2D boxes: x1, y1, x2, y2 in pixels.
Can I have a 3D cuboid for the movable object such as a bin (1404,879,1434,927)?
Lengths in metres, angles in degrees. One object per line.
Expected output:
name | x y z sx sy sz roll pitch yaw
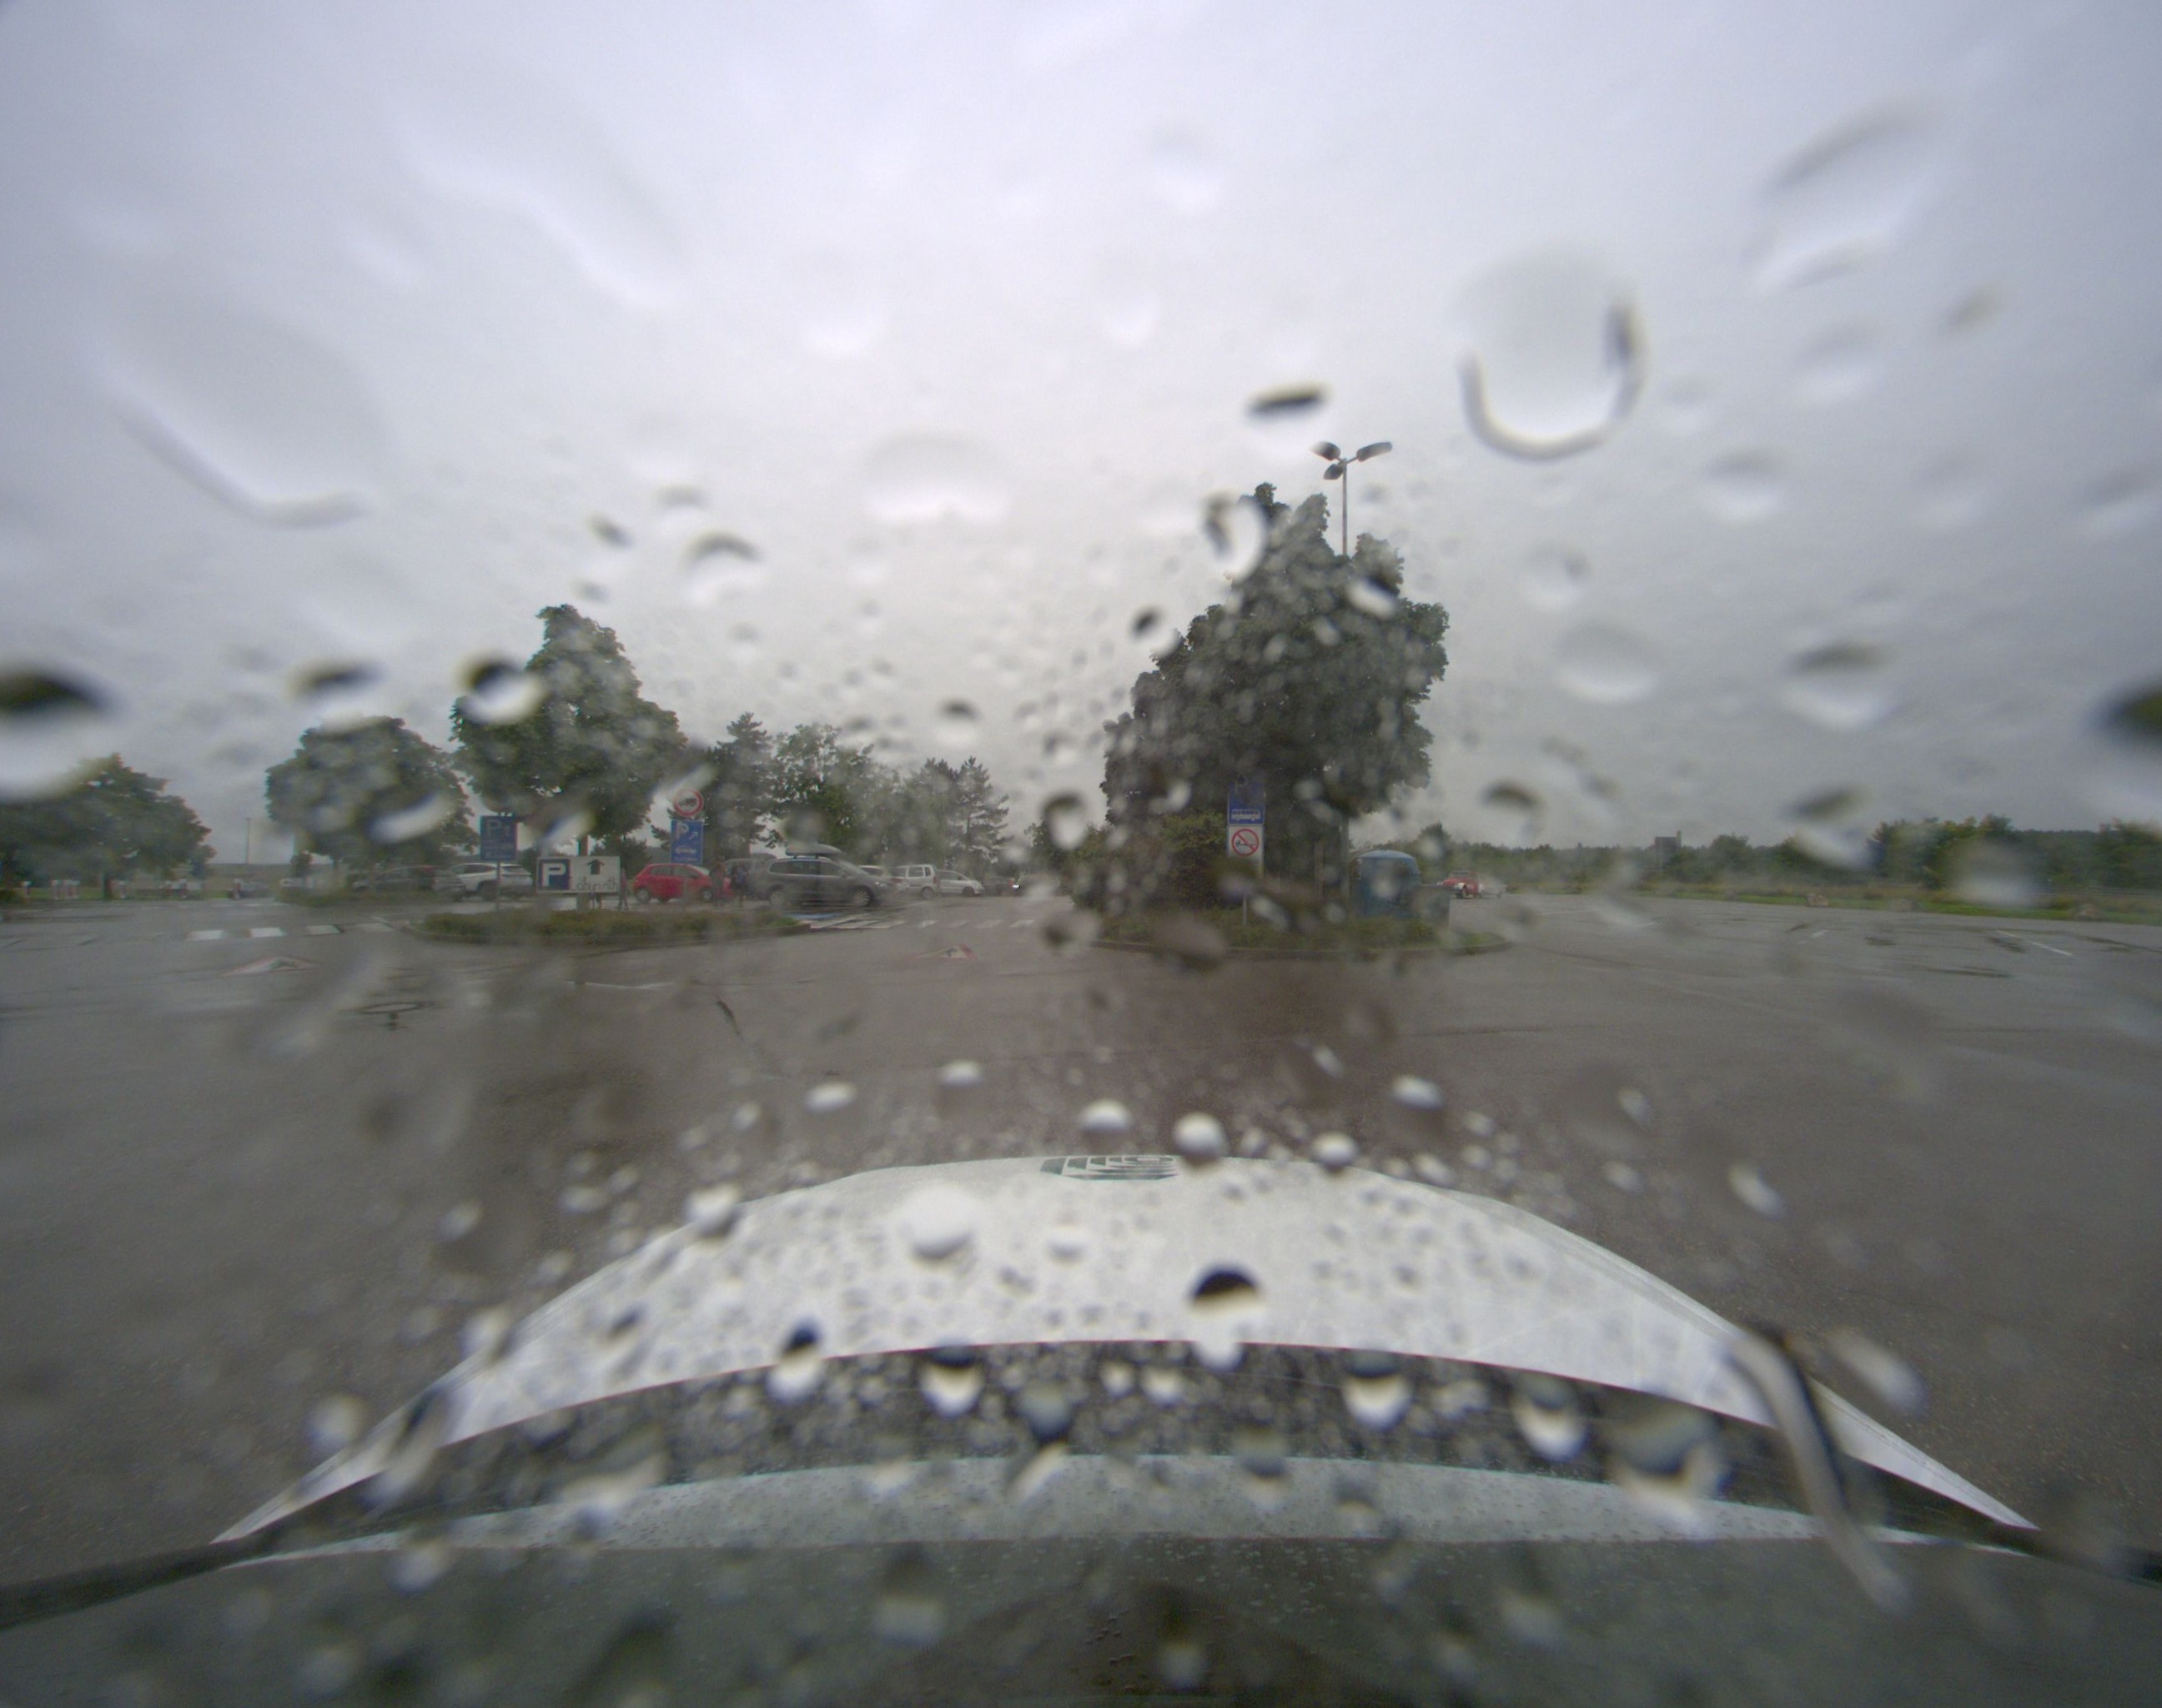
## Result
movable object such as a bin | 6.948 1.002 16.738 0.400 0.949 0.453 1 0 44

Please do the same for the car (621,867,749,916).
car | -15.181 1.407 31.359 3.997 1.792 1.850 0 -1 -1

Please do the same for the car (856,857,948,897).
car | -8.593 1.129 39.335 3.997 1.862 1.850 0 -3 -1

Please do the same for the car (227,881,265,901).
car | -83.275 3.703 81.259 1.715 2.014 3.958 2 -4 -33

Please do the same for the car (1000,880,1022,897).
car | -6.110 3.064 71.746 1.640 1.370 3.810 0 -3 -1

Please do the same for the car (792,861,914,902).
car | -8.670 1.032 31.213 4.169 1.517 1.744 0 0 1

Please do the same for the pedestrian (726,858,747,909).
pedestrian | -11.764 1.010 27.798 0.612 1.725 0.678 2 -4 -23

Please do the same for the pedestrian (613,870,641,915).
pedestrian | -14.035 1.198 25.169 0.648 1.362 0.447 3 -4 -40

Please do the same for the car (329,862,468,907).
car | -27.226 1.226 32.585 4.001 1.716 1.720 0 -3 -1

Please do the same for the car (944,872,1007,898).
car | -7.794 2.259 60.457 4.340 1.862 1.850 0 -2 -1

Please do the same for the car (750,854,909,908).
car | -8.707 0.914 28.542 4.919 1.792 1.999 0 -1 -1

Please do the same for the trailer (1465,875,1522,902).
trailer | 23.862 1.975 47.043 4.022 1.533 1.680 2 -2 -43

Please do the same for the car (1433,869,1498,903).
car | 20.918 1.753 44.279 4.022 1.777 1.806 3 -3 -43

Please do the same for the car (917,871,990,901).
car | -8.158 2.087 52.440 4.341 1.862 1.850 0 -3 -1

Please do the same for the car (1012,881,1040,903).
car | -3.553 2.489 53.172 1.640 1.370 3.997 0 -3 -1

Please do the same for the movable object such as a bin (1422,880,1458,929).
movable object such as a bin | 7.166 0.996 16.263 0.473 0.949 0.432 2 -1 -22

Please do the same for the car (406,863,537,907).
car | -26.531 1.359 35.545 4.341 1.862 1.720 0 -3 -1

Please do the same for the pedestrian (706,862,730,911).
pedestrian | -12.135 1.087 27.247 0.717 1.639 0.641 1 -3 -24
